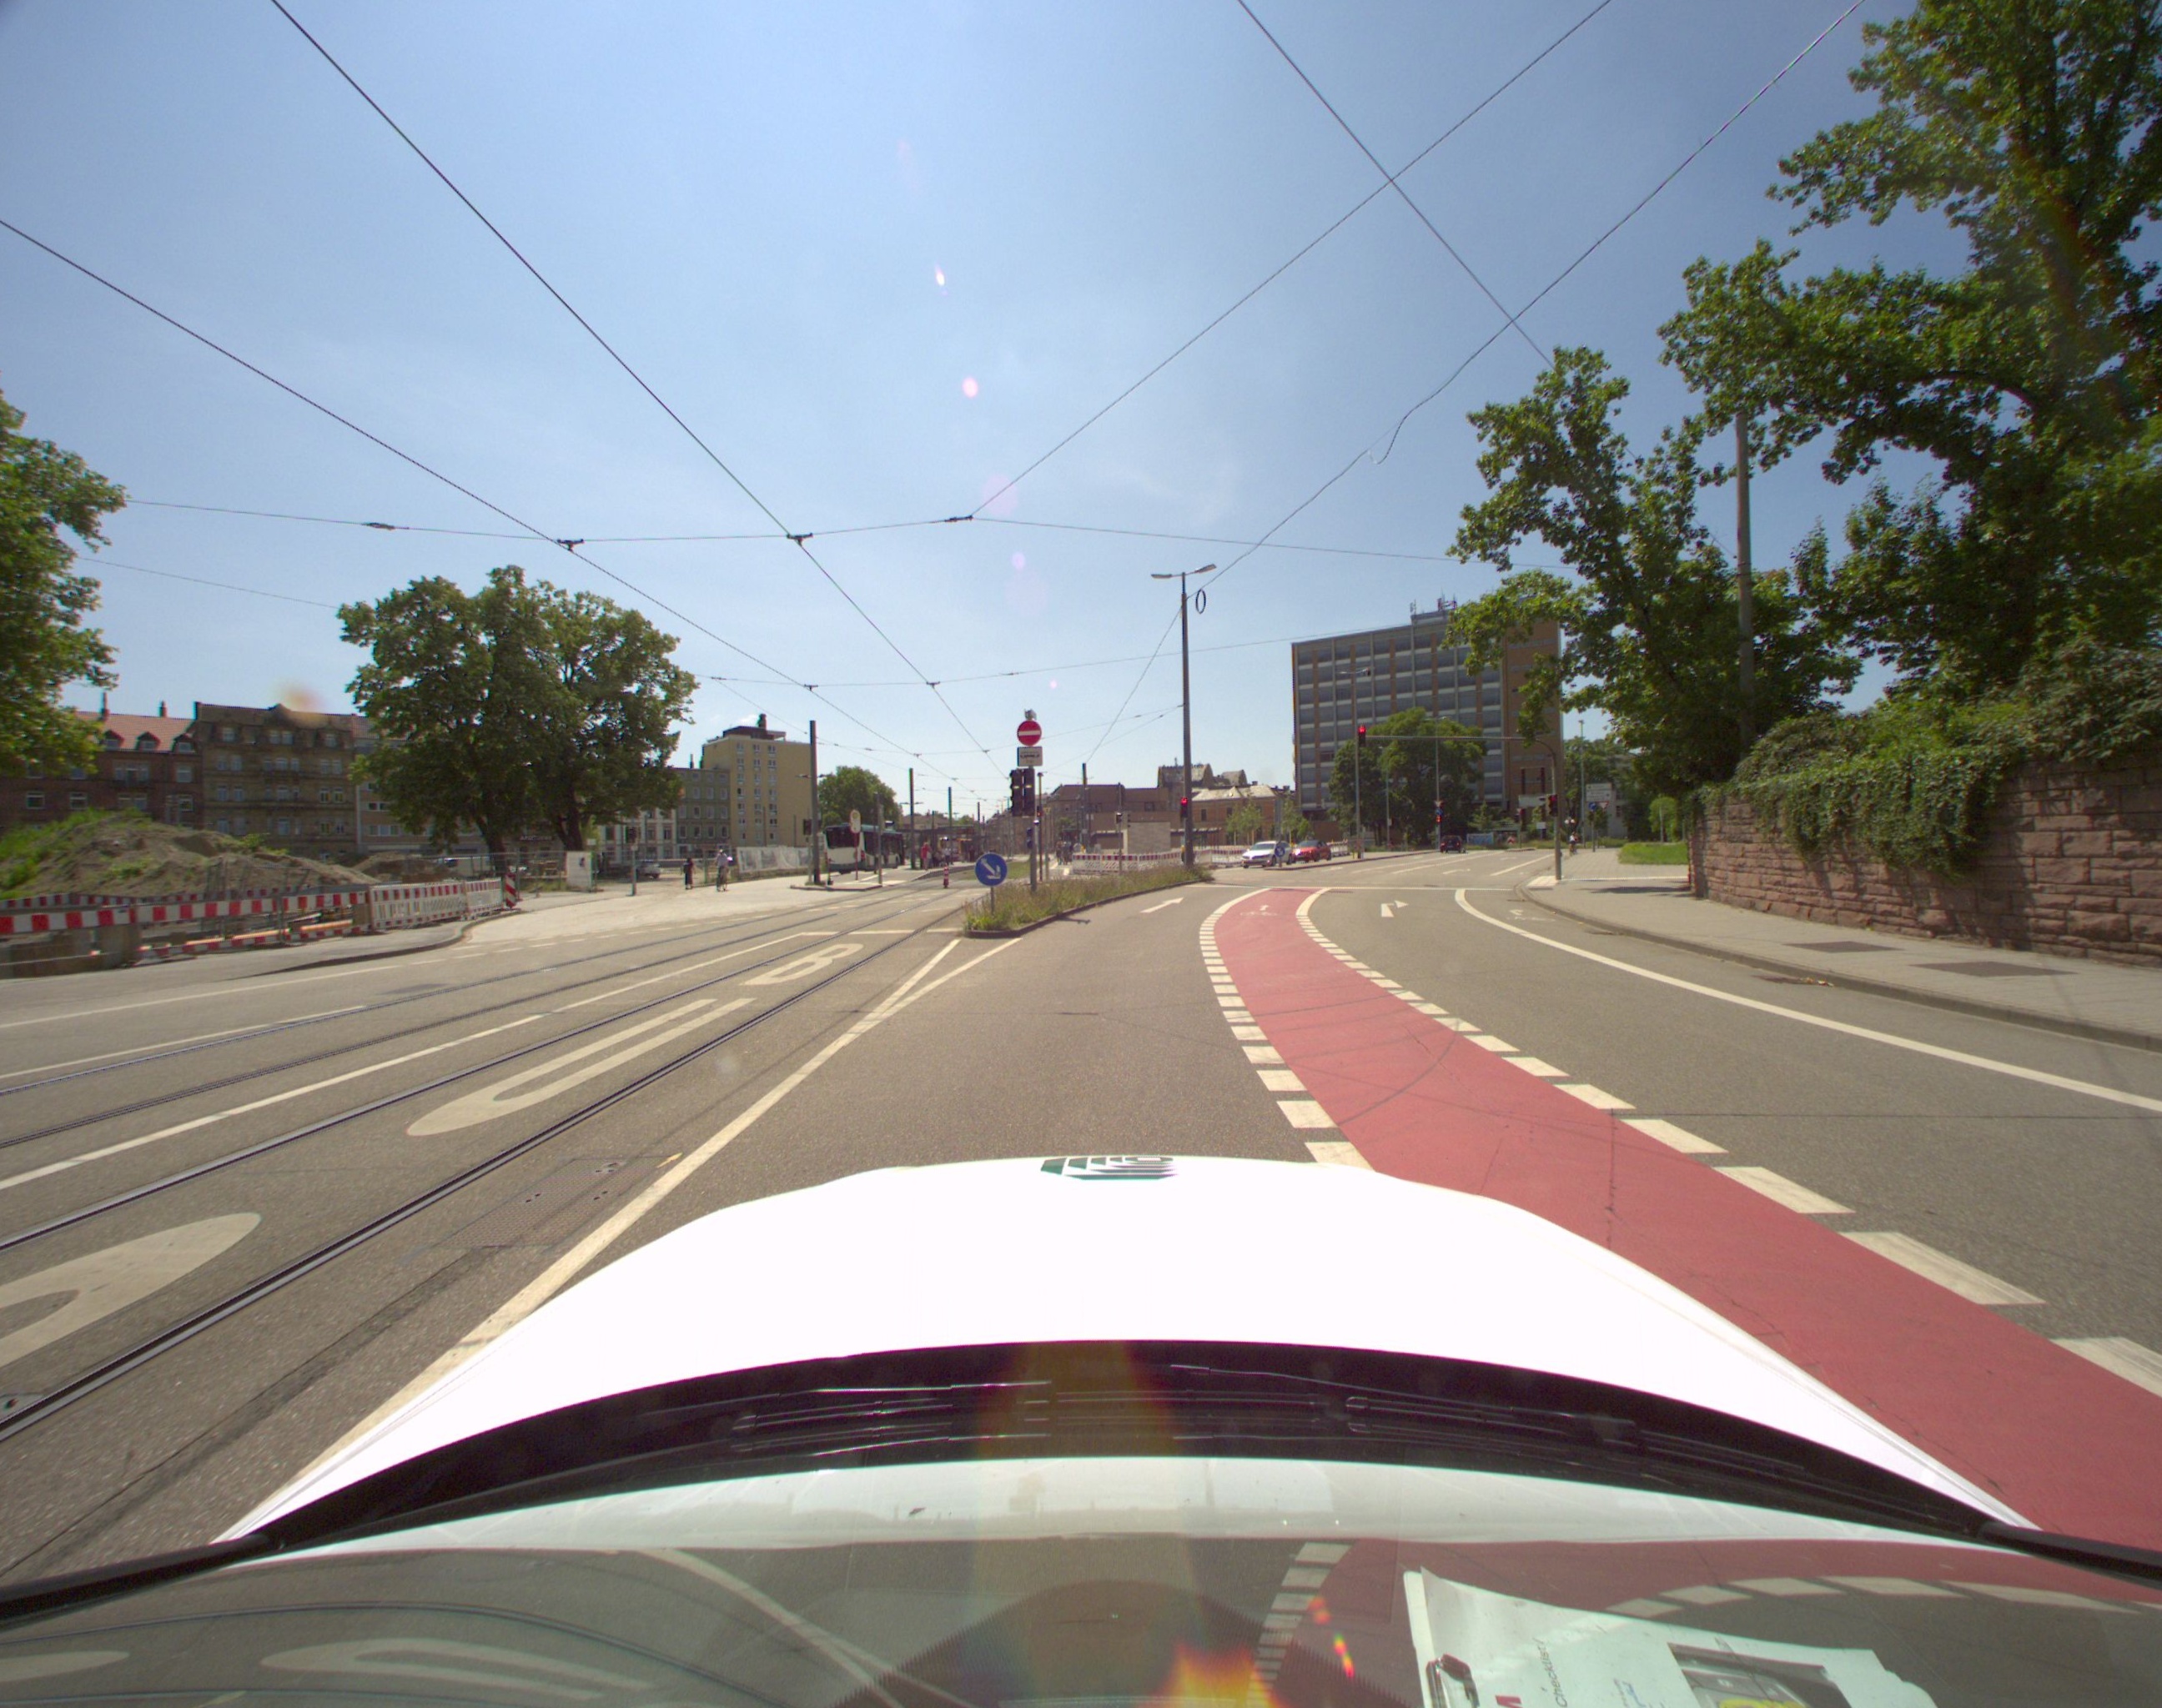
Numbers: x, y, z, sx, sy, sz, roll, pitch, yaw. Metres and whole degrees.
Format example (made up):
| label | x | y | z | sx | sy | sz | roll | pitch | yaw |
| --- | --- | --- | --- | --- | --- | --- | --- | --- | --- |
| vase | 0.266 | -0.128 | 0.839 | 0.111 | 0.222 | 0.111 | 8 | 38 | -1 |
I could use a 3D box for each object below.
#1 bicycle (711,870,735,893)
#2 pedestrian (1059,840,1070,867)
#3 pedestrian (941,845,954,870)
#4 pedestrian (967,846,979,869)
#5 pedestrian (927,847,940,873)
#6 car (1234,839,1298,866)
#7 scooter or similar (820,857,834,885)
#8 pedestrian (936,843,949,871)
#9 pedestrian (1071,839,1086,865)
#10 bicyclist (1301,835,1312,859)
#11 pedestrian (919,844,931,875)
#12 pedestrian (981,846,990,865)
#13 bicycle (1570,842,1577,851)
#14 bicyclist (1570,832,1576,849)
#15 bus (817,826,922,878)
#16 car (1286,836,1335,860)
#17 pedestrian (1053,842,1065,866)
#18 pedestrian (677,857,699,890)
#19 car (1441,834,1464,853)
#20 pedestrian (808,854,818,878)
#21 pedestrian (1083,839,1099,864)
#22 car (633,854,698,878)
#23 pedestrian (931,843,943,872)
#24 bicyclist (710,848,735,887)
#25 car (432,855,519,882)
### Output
| label | x | y | z | sx | sy | sz | roll | pitch | yaw |
| --- | --- | --- | --- | --- | --- | --- | --- | --- | --- |
| bicycle | -16.108 | 1.226 | 36.658 | 0.504 | 0.914 | 2.361 | -2 | 1 | -12 |
| pedestrian | -1.197 | -0.026 | 59.922 | 0.718 | 1.923 | 1.072 | -1 | -1 | -5 |
| pedestrian | -11.318 | 0.311 | 69.120 | 0.895 | 2.096 | 0.832 | -2 | 0 | 4 |
| pedestrian | -10.262 | 0.335 | 77.274 | 0.895 | 2.096 | 0.832 | -2 | 0 | 4 |
| pedestrian | -10.570 | 0.441 | 58.388 | 0.912 | 1.851 | 0.655 | -2 | 0 | -11 |
| car | 10.687 | -0.129 | 46.862 | 1.974 | 1.438 | 4.735 | -2 | 0 | 34 |
| scooter or similar | -11.139 | 0.735 | 35.740 | 0.318 | 1.206 | 1.246 | -2 | 0 | -5 |
| pedestrian | -10.538 | 0.207 | 61.890 | 0.900 | 2.096 | 0.828 | -2 | 0 | -12 |
| pedestrian | -0.165 | -0.144 | 57.945 | 0.771 | 1.864 | 0.721 | 0 | -1 | -42 |
| bicyclist | 16.163 | -0.487 | 58.330 | 0.561 | 1.719 | 0.510 | -1 | 1 | 40 |
| pedestrian | -9.620 | 0.328 | 50.329 | 0.673 | 1.909 | 0.638 | -2 | 0 | -10 |
| pedestrian | -10.766 | 0.155 | 92.078 | 0.826 | 2.096 | 0.901 | -2 | 0 | -1 |
| bicycle | 35.640 | -0.541 | 58.974 | 0.373 | 0.646 | 1.655 | -2 | 1 | 30 |
| bicyclist | 35.657 | -0.971 | 59.027 | 0.348 | 1.227 | 0.567 | -2 | 0 | 29 |
| bus | -15.039 | -0.200 | 59.977 | 3.000 | 3.157 | 17.497 | -2 | 0 | 0 |
| car | 14.907 | -0.392 | 52.757 | 1.714 | 1.425 | 4.150 | -2 | 0 | 36 |
| pedestrian | -1.617 | -0.003 | 58.763 | 0.727 | 1.707 | 0.740 | -1 | -1 | -12 |
| pedestrian | -19.743 | 0.981 | 40.916 | 0.602 | 1.602 | 0.828 | -2 | 0 | 9 |
| car | 31.691 | -0.885 | 69.467 | 1.673 | 1.526 | 3.711 | -2 | 1 | 24 |
| pedestrian | -19.493 | 0.853 | 59.307 | 0.566 | 1.705 | 0.396 | -2 | 0 | -8 |
| pedestrian | 0.706 | -0.178 | 59.216 | 0.979 | 1.832 | 0.630 | -2 | 0 | -15 |
| car | -32.032 | 0.910 | 62.806 | 4.155 | 1.649 | 1.857 | -1 | 0 | 11 |
| pedestrian | -10.772 | 0.251 | 60.955 | 0.824 | 2.096 | 0.639 | -2 | 0 | -12 |
| bicyclist | -16.115 | 0.605 | 36.634 | 0.821 | 1.709 | 0.767 | -2 | 0 | -12 |
| car | -47.201 | 1.116 | 63.620 | 2.094 | 1.884 | 5.063 | -2 | 1 | 19 |
